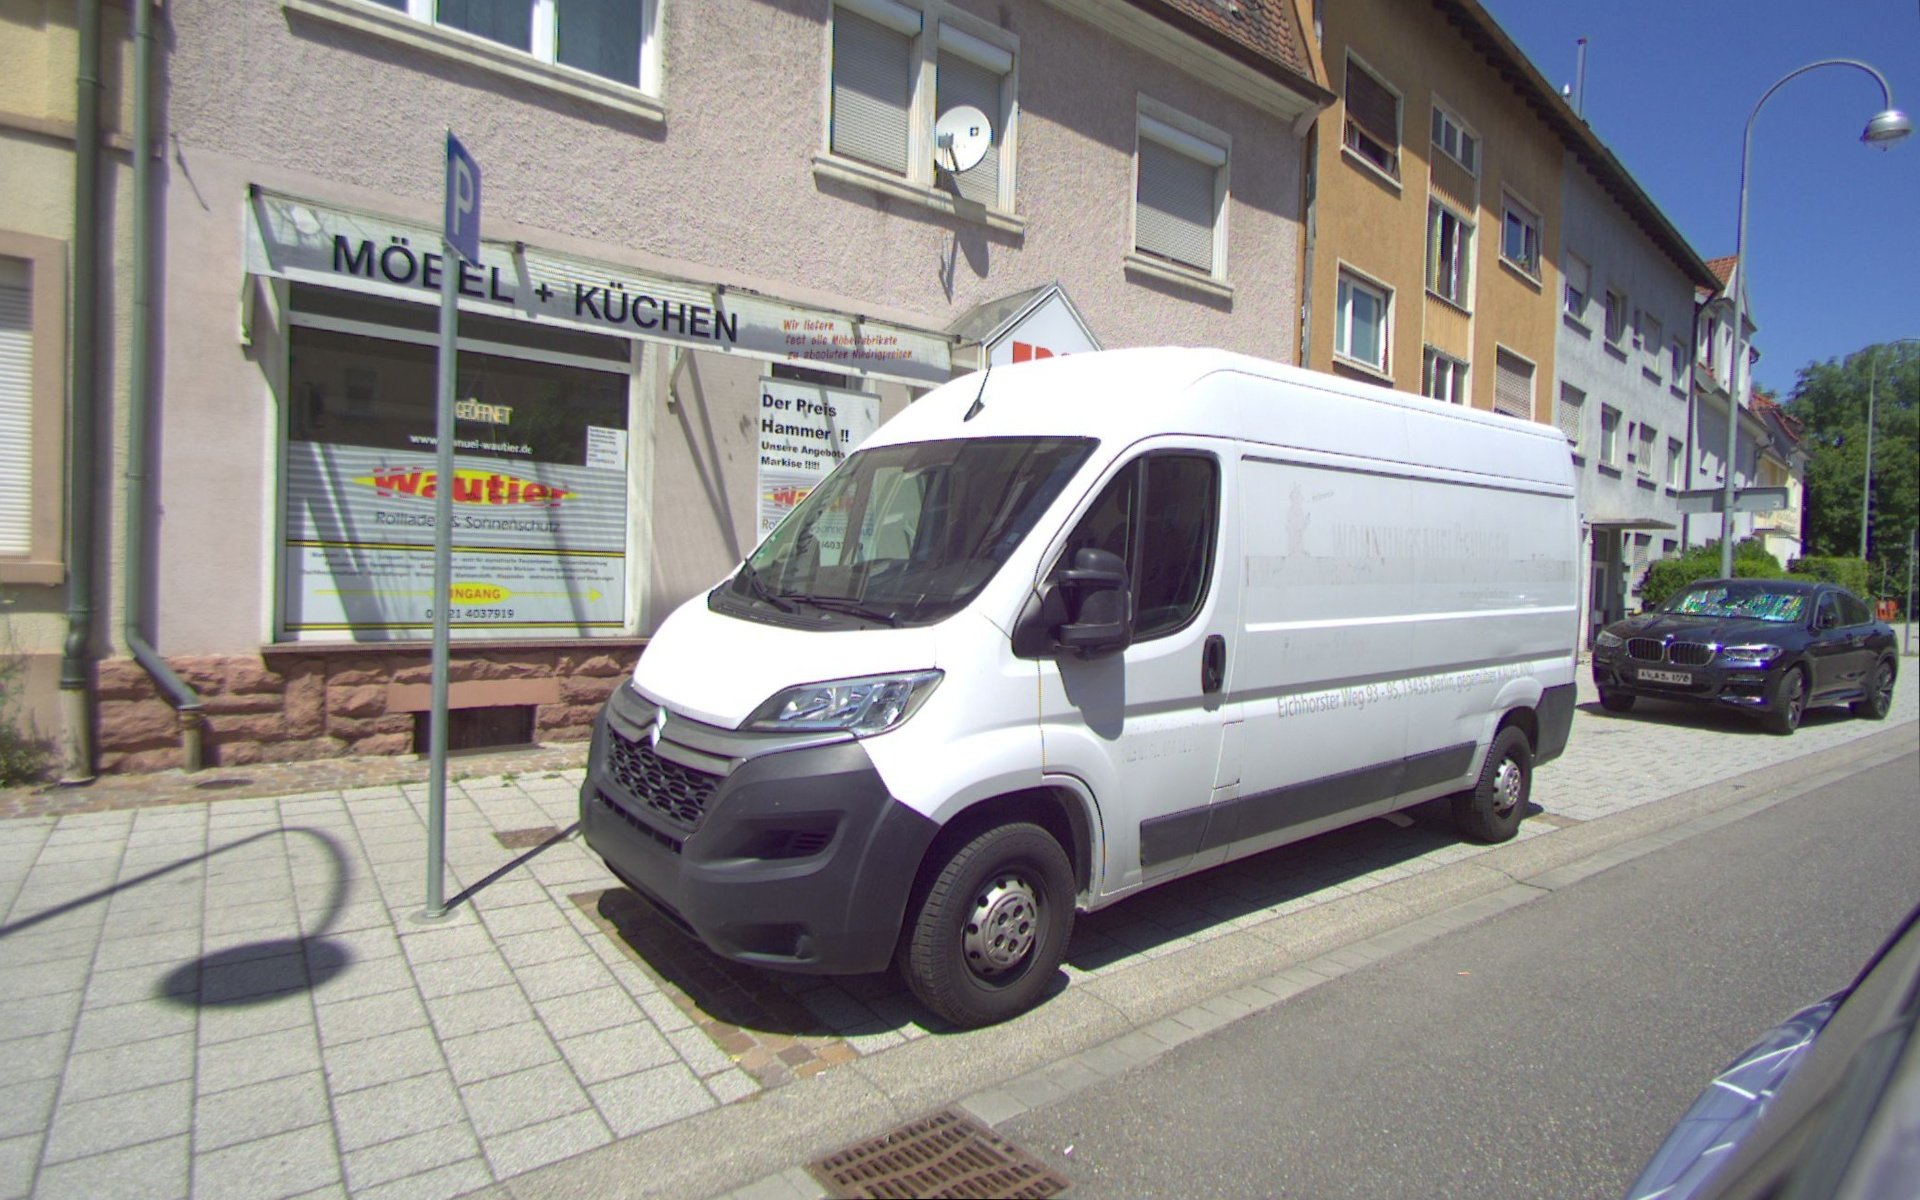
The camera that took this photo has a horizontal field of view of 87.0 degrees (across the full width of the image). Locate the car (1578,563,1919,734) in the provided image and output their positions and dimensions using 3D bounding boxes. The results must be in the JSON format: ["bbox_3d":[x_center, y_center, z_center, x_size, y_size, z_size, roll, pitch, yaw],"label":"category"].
[{"bbox_3d":[9.487,0.453,12.012,4.279,1.627,1.904,0,4,-32],"label":"car"}]

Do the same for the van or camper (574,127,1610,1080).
[{"bbox_3d":[1.182,-0.040,5.433,5.663,2.620,2.170,0,3,-40],"label":"van or camper"}]

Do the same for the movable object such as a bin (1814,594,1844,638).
[{"bbox_3d":[22.598,0.406,26.318,0.546,1.117,0.488,0,2,-41],"label":"movable object such as a bin"}]
